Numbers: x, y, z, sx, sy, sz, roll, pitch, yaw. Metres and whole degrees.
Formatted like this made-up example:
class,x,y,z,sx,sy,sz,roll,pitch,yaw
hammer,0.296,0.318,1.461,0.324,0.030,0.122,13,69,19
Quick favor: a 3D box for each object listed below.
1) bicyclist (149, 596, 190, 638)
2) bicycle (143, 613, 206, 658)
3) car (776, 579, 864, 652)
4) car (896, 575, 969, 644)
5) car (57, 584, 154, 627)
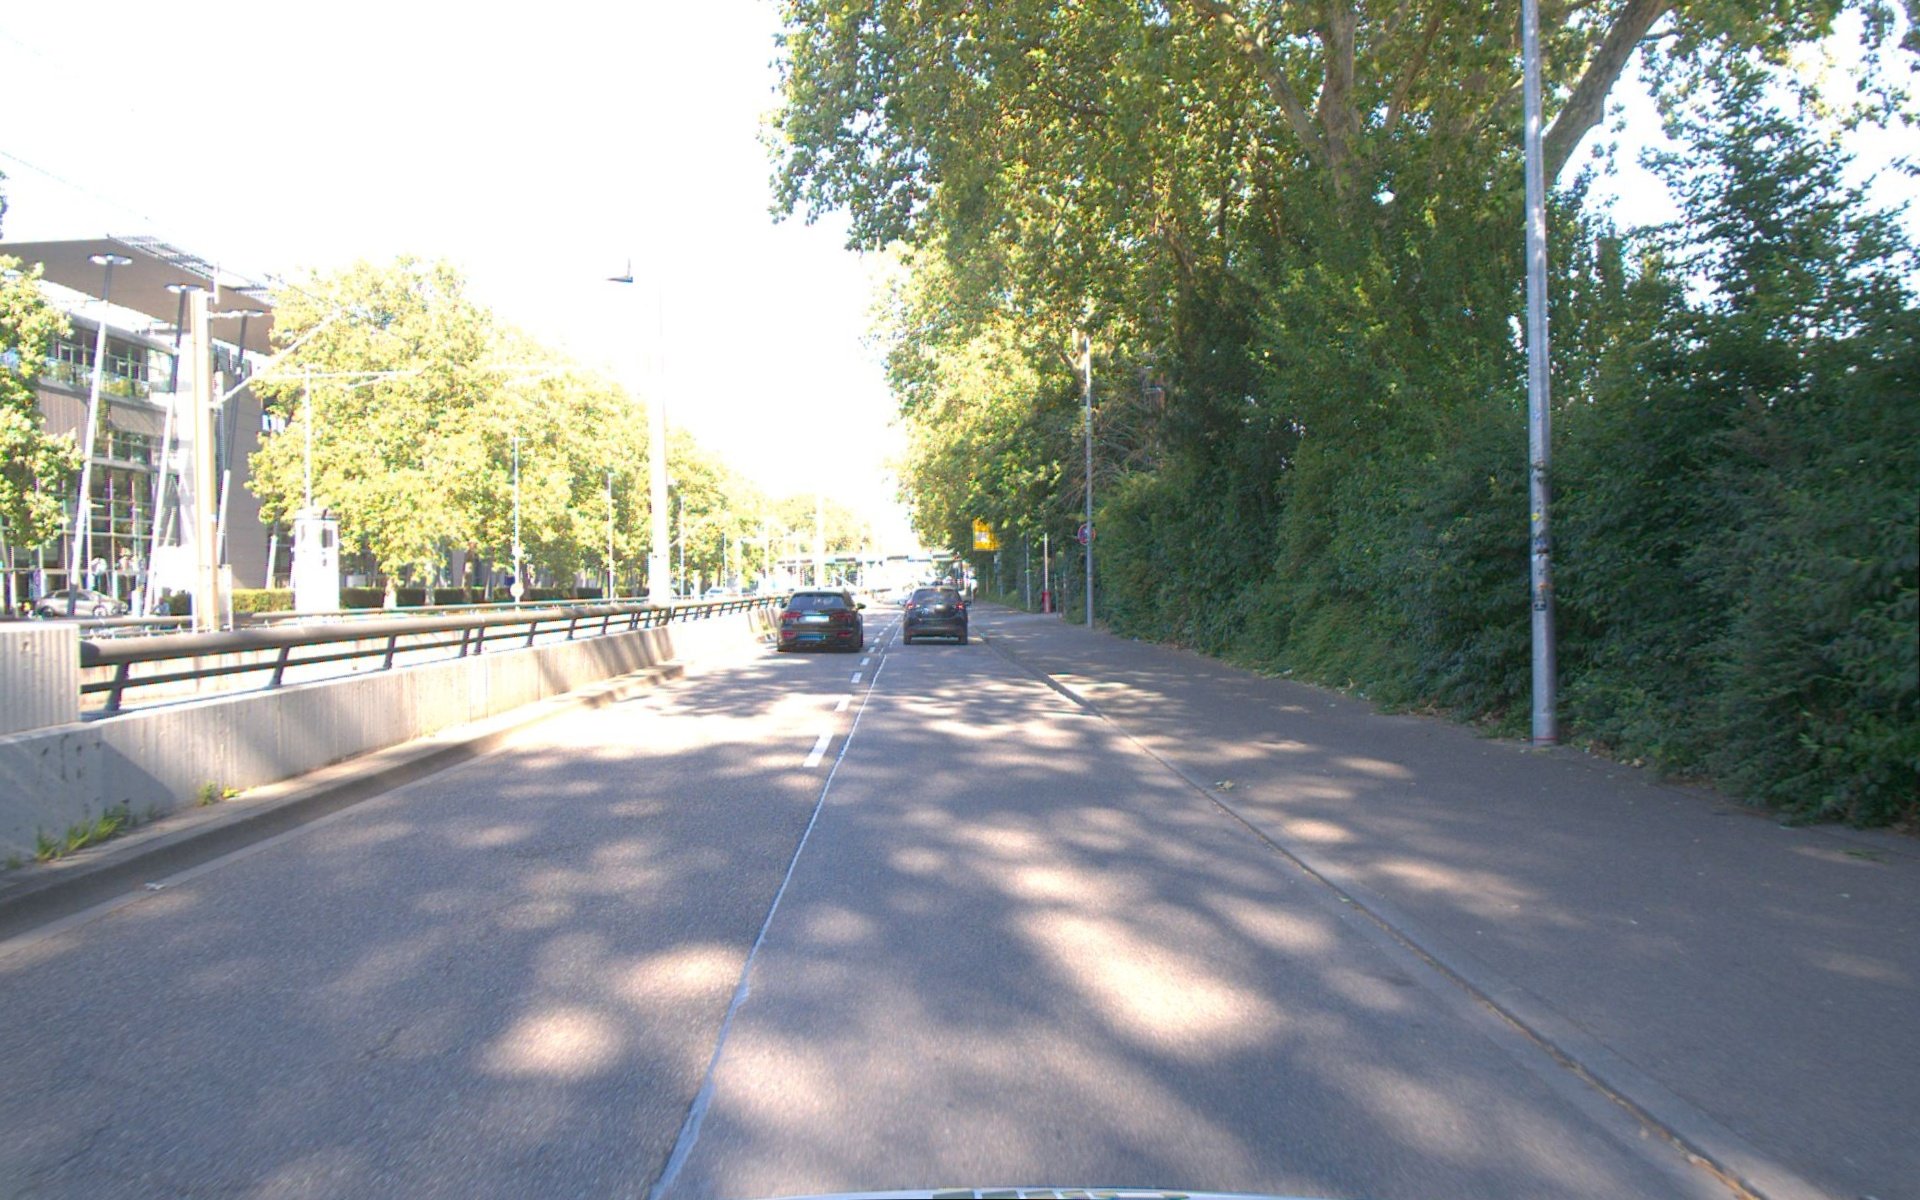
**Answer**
class,x,y,z,sx,sy,sz,roll,pitch,yaw
bicyclist,-29.775,0.645,62.306,0.911,1.512,1.272,-2,1,-3
bicycle,-29.831,1.330,62.879,0.911,1.512,3.176,-2,1,-3
car,-3.143,0.317,37.665,1.841,1.482,3.355,-2,1,-3
car,-0.758,0.205,43.366,1.727,1.647,3.998,-2,1,-3
car,-44.467,0.257,86.087,3.907,2.048,1.999,-2,1,-2
